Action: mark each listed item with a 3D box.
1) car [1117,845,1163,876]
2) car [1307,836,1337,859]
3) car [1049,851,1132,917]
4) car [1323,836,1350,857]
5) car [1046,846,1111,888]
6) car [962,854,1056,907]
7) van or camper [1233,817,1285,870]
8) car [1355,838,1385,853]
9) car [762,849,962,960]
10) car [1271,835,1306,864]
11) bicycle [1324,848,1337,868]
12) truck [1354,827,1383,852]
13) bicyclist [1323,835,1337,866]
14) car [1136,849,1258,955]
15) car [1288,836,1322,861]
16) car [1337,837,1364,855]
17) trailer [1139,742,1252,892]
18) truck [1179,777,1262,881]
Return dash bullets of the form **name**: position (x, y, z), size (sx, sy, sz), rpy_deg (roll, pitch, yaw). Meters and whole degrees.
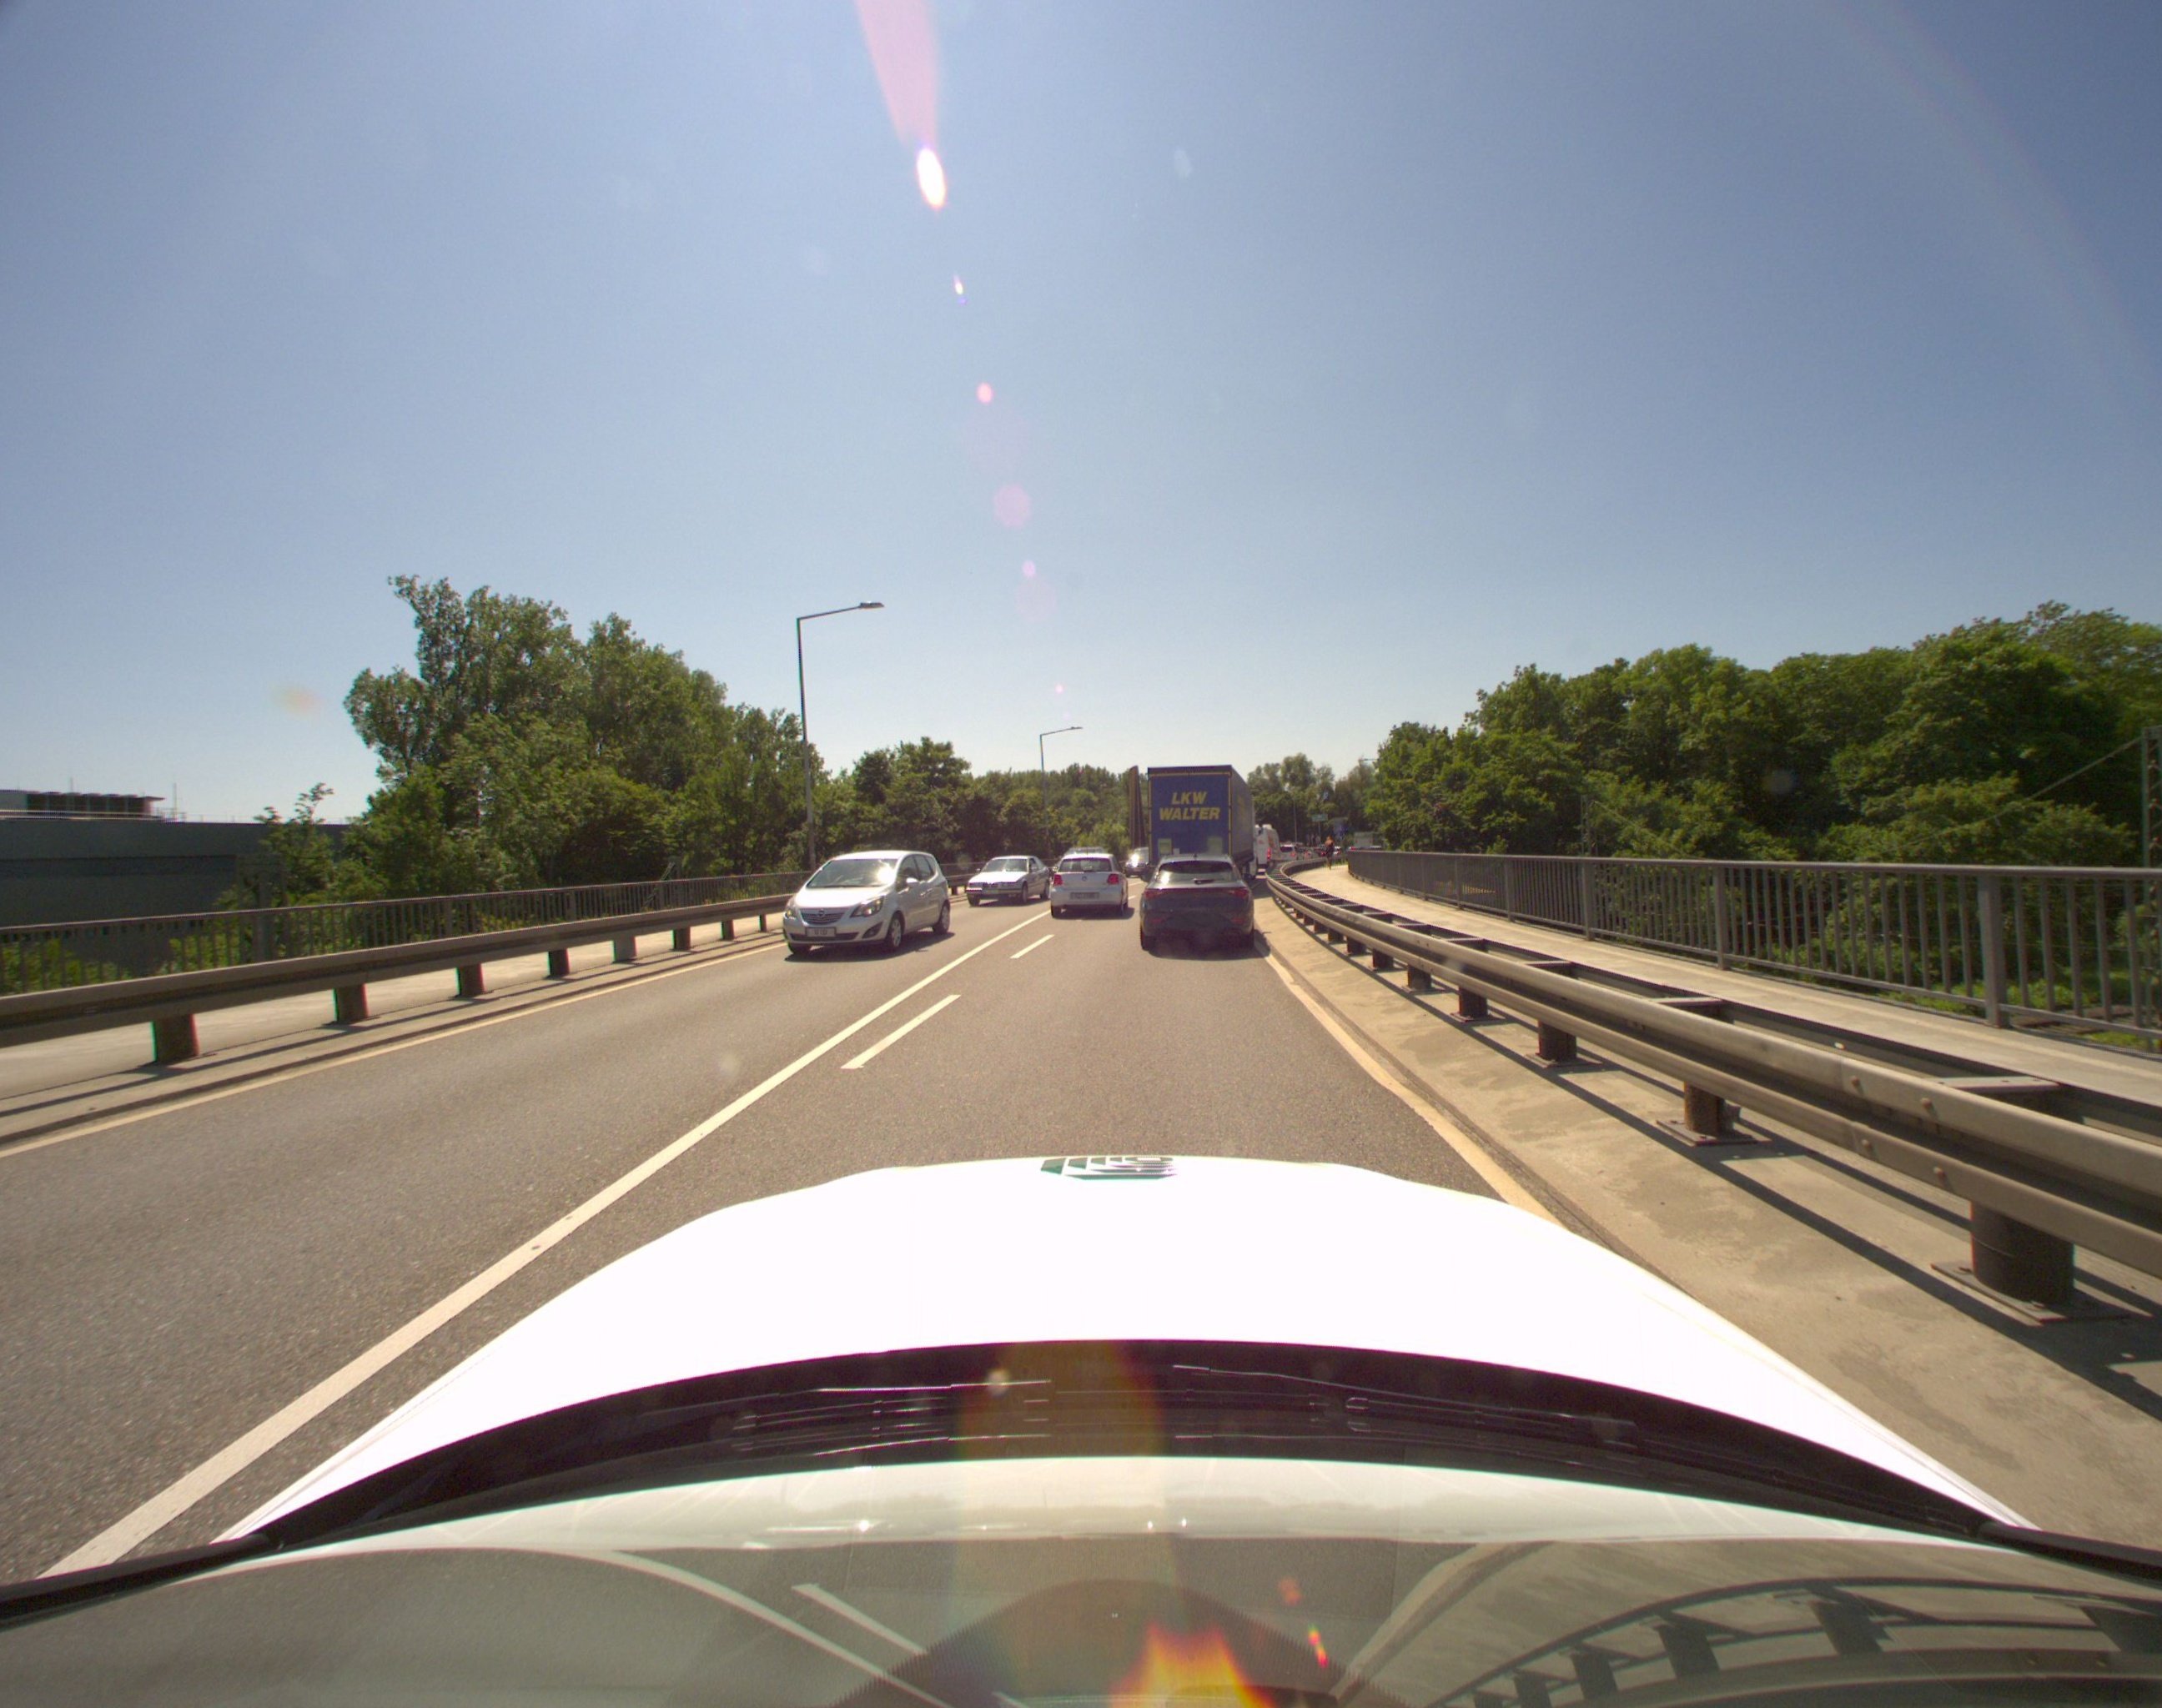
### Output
- **car**: position (3.322, 0.314, 45.108), size (1.694, 1.626, 4.271), rpy_deg (-1, 0, 16)
- **car**: position (20.315, -0.580, 68.491), size (1.705, 1.844, 4.024), rpy_deg (-1, 1, 27)
- **car**: position (0.335, 0.661, 19.989), size (1.669, 1.411, 3.982), rpy_deg (-1, 1, 6)
- **car**: position (23.396, -0.730, 74.425), size (1.705, 1.844, 4.024), rpy_deg (-1, 1, 27)
- **car**: position (-0.047, 0.511, 34.735), size (1.789, 1.641, 4.316), rpy_deg (-2, 0, 13)
- **car**: position (-2.065, 0.727, 24.434), size (1.686, 1.376, 4.013), rpy_deg (-2, 0, 11)
- **van or camper**: position (10.455, -0.604, 47.468), size (2.136, 2.815, 6.418), rpy_deg (-1, 1, 19)
- **car**: position (30.740, -0.889, 86.563), size (1.974, 1.575, 4.025), rpy_deg (1, -1, 35)
- **car**: position (-3.501, 0.731, 13.922), size (1.727, 1.580, 4.186), rpy_deg (-2, 0, 8)
- **car**: position (14.039, -0.340, 54.999), size (1.706, 1.843, 4.022), rpy_deg (-1, 1, 22)
- **bicycle**: position (13.560, 0.230, 44.279), size (0.577, 1.035, 1.492), rpy_deg (-4, -1, 18)
- **truck**: position (34.452, -1.752, 97.488), size (2.312, 2.873, 5.978), rpy_deg (-1, 1, 29)
- **bicyclist**: position (13.543, -0.197, 44.283), size (0.573, 1.682, 0.732), rpy_deg (-4, -1, 18)
- **car**: position (1.915, 0.673, 13.483), size (1.667, 1.456, 3.968), rpy_deg (-1, 0, 8)
- **car**: position (16.854, -0.427, 61.071), size (1.705, 1.802, 4.024), rpy_deg (-1, 1, 26)
- **car**: position (26.736, -0.776, 80.641), size (1.669, 1.760, 4.025), rpy_deg (-1, 0, 31)
- **trailer**: position (4.686, -1.171, 30.543), size (2.884, 4.418, 12.480), rpy_deg (-1, 1, 14)
- **truck**: position (6.666, -1.095, 38.100), size (2.881, 4.418, 6.585), rpy_deg (-1, 1, 17)
